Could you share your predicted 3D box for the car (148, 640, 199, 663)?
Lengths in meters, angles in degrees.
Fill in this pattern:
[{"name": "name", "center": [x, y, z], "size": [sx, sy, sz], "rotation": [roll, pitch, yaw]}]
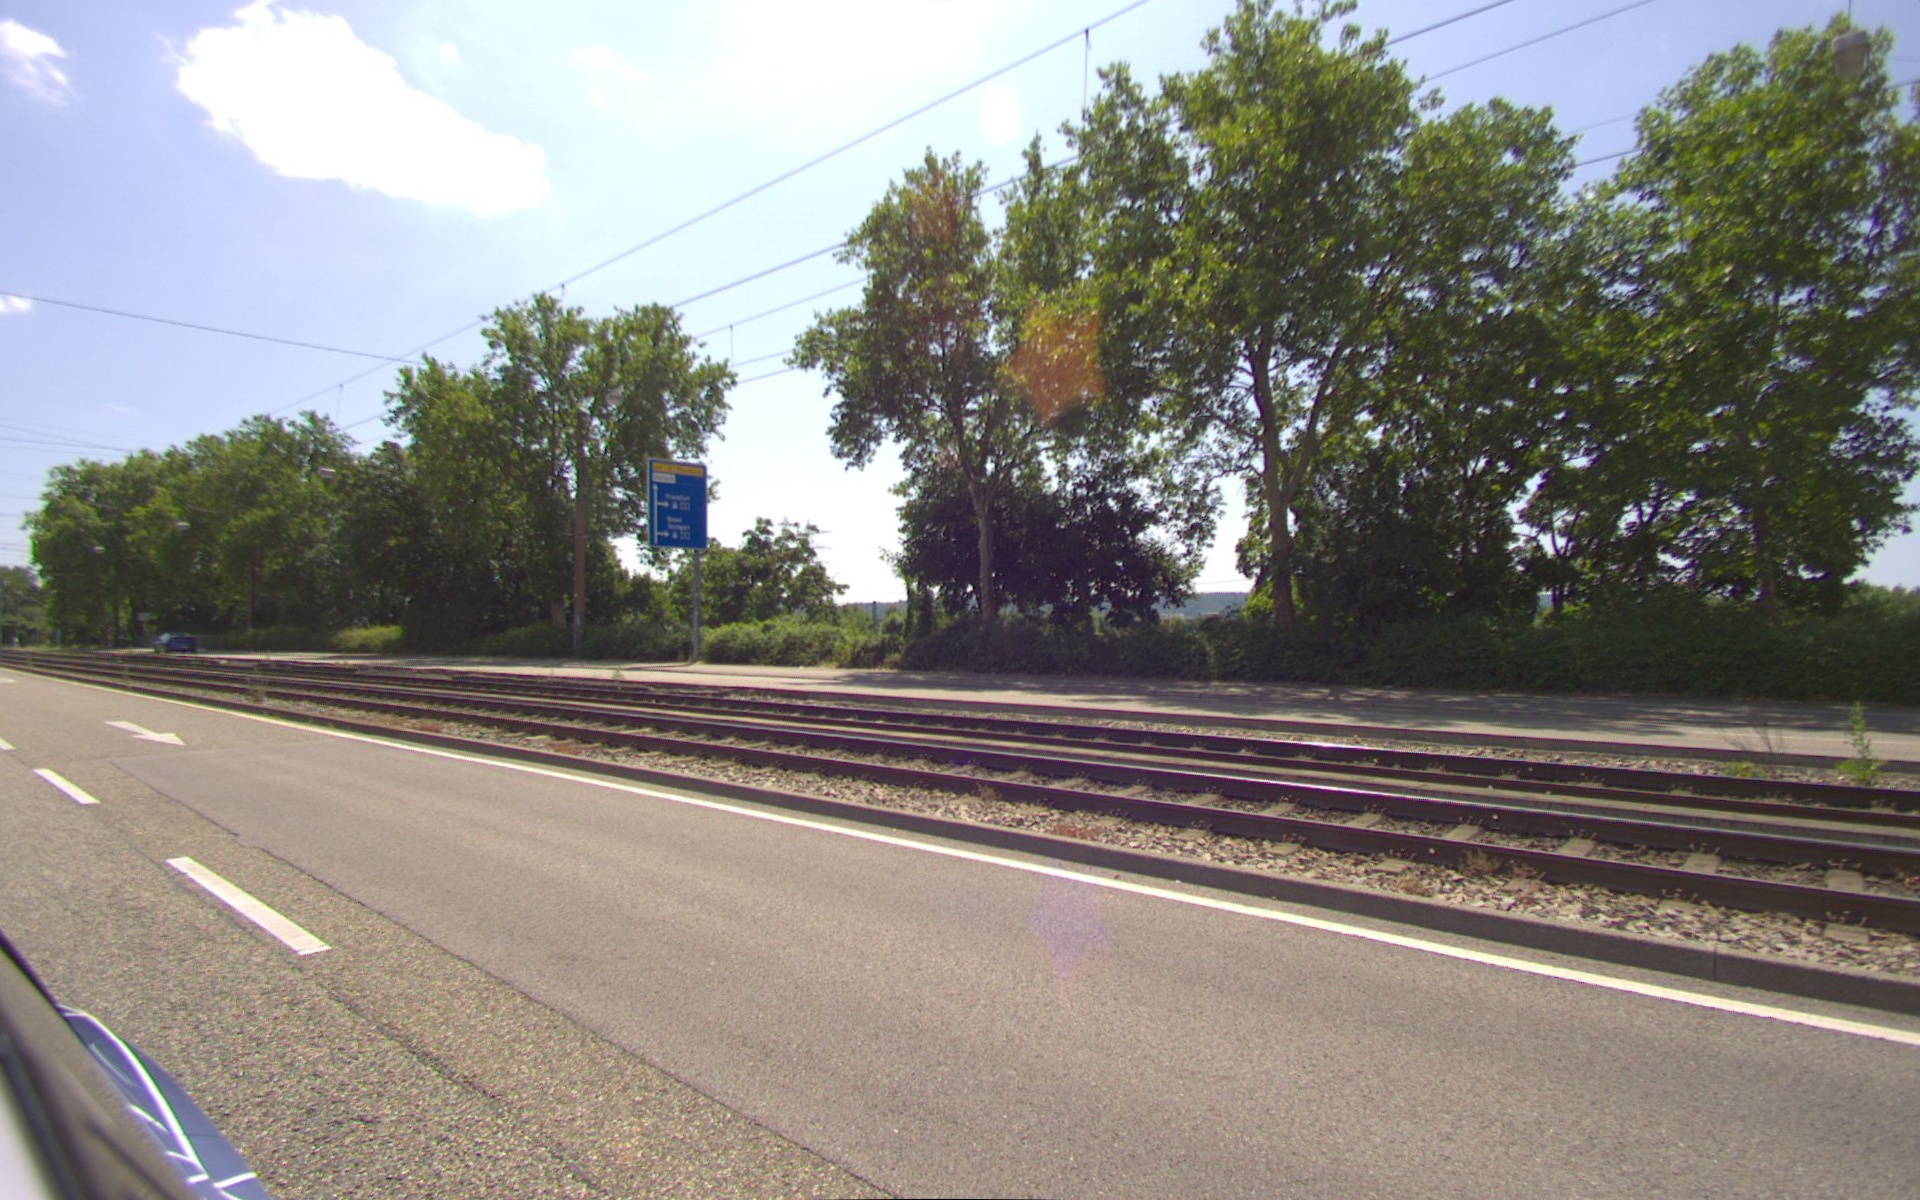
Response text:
[{"name": "car", "center": [-54.316, 3.576, 69.873], "size": [4.731, 1.515, 1.780], "rotation": [-2, -4, 40]}]
